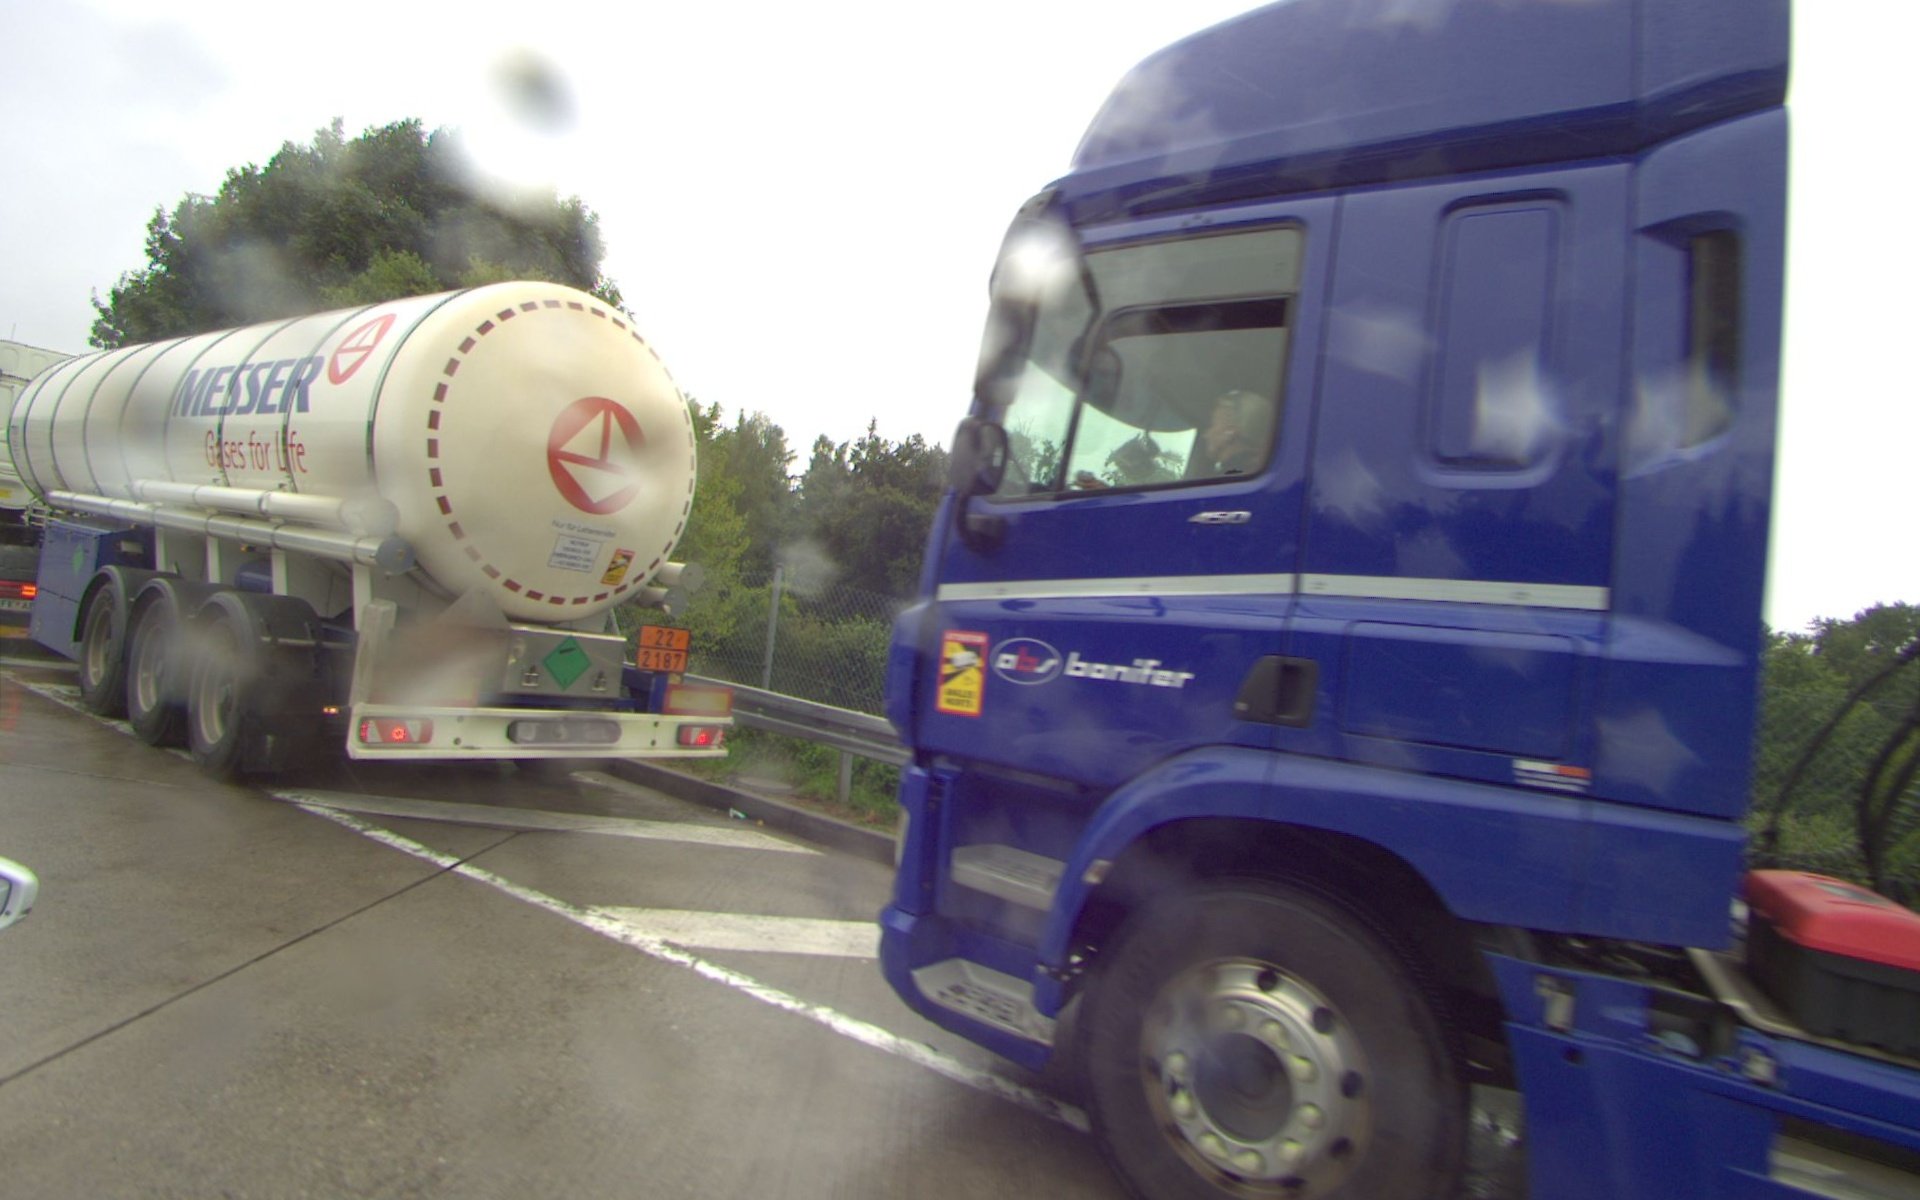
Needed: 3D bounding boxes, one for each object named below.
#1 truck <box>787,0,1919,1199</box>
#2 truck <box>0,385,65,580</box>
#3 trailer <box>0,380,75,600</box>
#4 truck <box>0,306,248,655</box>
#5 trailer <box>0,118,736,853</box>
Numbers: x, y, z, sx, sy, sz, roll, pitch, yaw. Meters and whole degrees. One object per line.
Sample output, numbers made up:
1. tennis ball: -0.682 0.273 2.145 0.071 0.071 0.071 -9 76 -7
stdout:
1. truck: 2.204 0.050 2.841 4.665 3.571 2.058 6 -2 29
2. truck: -21.243 -2.604 21.856 2.176 3.873 4.091 8 -2 -44
3. trailer: -18.246 -2.086 18.647 2.177 3.431 7.471 8 -2 -44
4. truck: -11.314 -1.395 12.867 4.579 3.554 2.146 6 -2 40
5. trailer: -6.181 -0.828 8.762 10.104 3.480 2.131 6 -2 39
